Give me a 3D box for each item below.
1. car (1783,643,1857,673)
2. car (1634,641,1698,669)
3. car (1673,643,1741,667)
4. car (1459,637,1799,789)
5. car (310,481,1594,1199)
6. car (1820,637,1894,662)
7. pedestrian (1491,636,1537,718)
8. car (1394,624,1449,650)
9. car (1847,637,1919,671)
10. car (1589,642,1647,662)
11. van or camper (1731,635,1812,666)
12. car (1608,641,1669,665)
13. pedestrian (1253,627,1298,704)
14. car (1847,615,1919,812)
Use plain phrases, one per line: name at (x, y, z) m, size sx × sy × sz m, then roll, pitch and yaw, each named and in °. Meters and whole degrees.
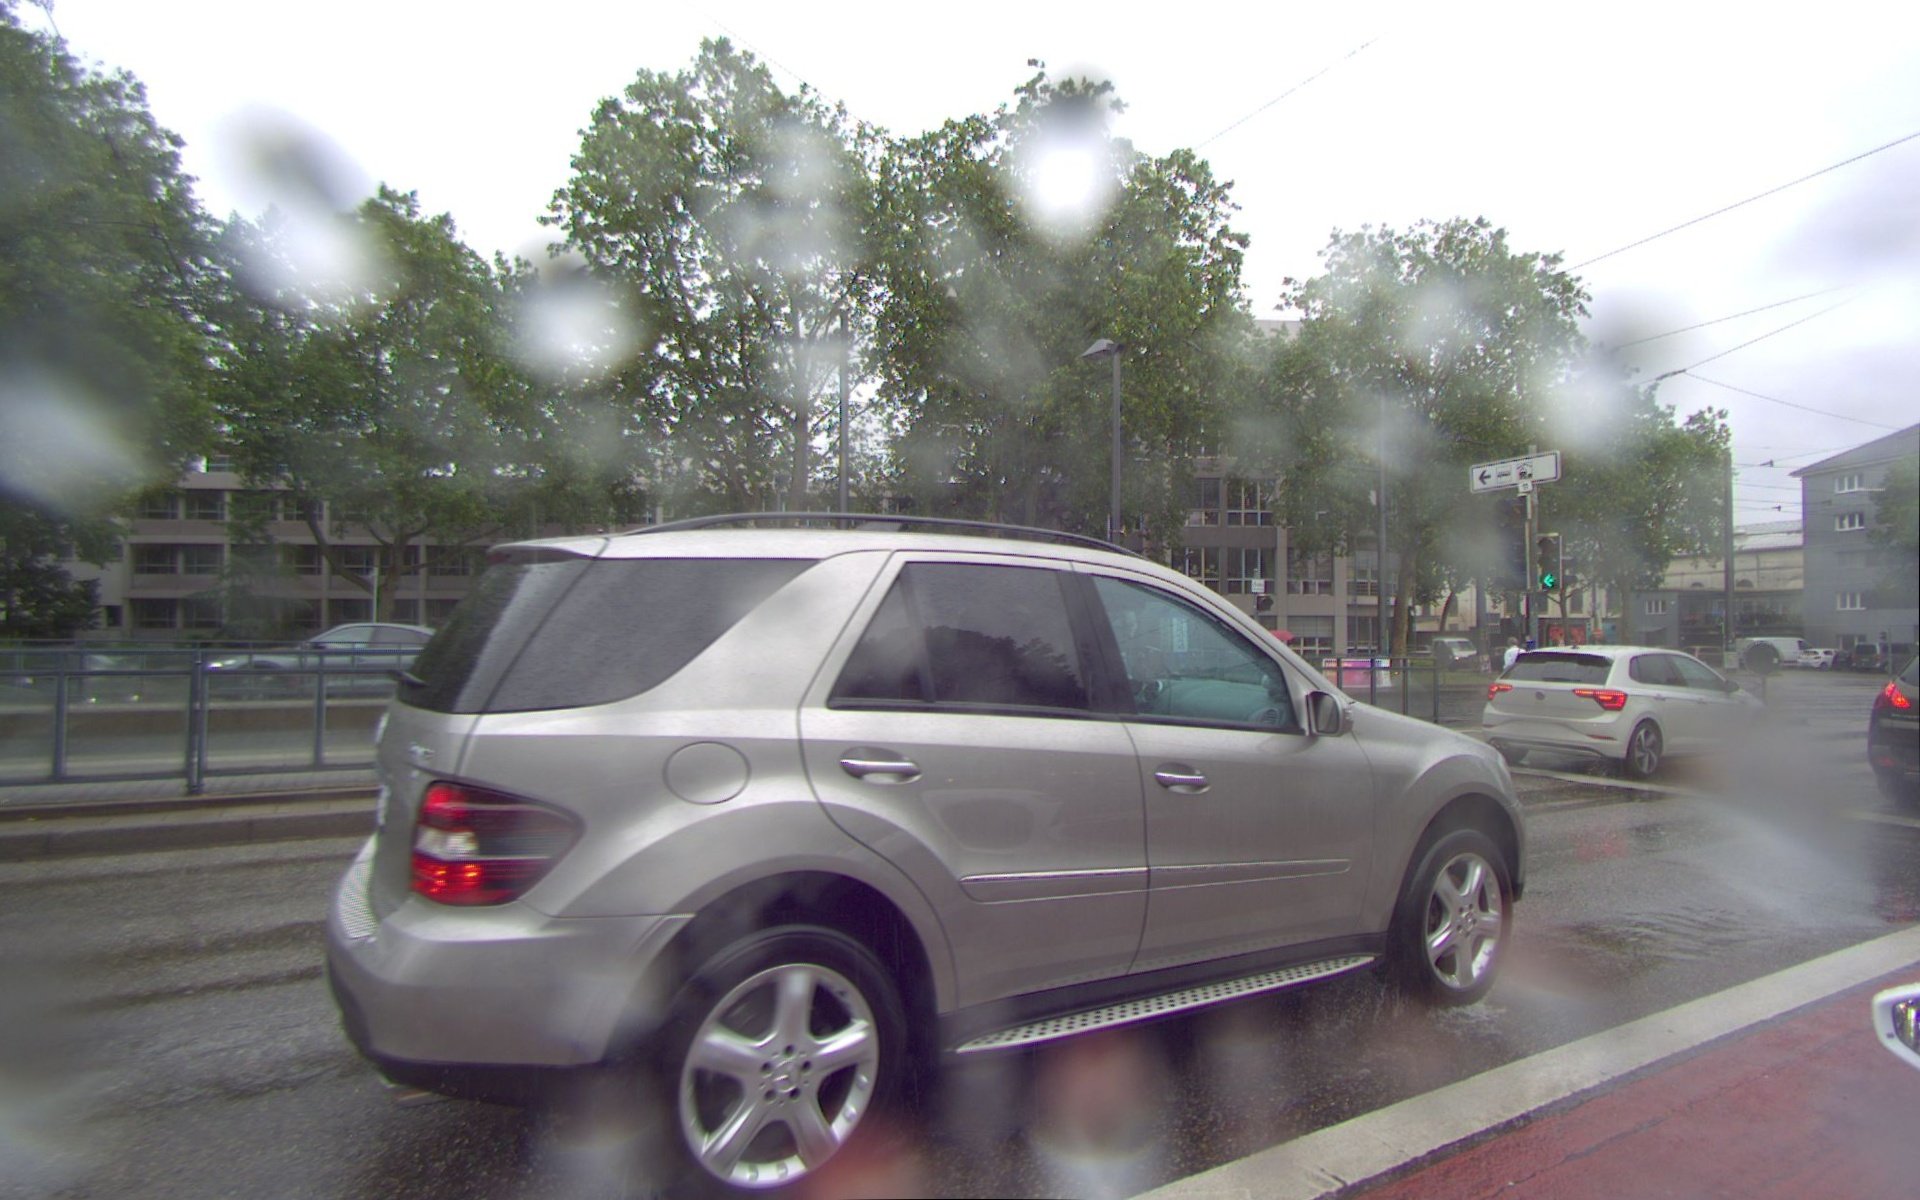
car at (60.606, 4.080, 70.809) m, size 3.931 × 2.040 × 1.995 m, roll 1°, pitch -1°, yaw -13°
car at (58.462, 4.555, 83.220) m, size 3.921 × 2.040 × 2.000 m, roll 2°, pitch -1°, yaw 0°
car at (58.539, 4.295, 78.789) m, size 3.924 × 1.635 × 1.999 m, roll 3°, pitch -2°, yaw -5°
car at (8.218, 1.246, 12.285) m, size 4.140 × 1.557 × 1.799 m, roll 1°, pitch -2°, yaw -29°
car at (0.272, 0.655, 3.919) m, size 4.627 × 1.668 × 1.898 m, roll 1°, pitch -1°, yaw -32°
car at (61.348, 3.382, 68.725) m, size 3.931 × 1.639 × 1.922 m, roll 1°, pitch -1°, yaw -13°
pedestrian at (11.327, 1.551, 20.547) m, size 0.721 × 1.631 × 0.717 m, roll 0°, pitch -1°, yaw 22°
car at (33.074, 2.608, 72.053) m, size 1.966 × 1.795 × 3.998 m, roll 0°, pitch -1°, yaw -3°
car at (60.933, 3.515, 65.544) m, size 4.310 × 2.040 × 2.068 m, roll 1°, pitch 0°, yaw 0°
car at (58.853, 4.625, 89.892) m, size 3.921 × 1.787 × 2.001 m, roll 0°, pitch -2°, yaw 0°
van or camper at (59.254, 3.665, 73.402) m, size 4.568 × 2.102 × 1.998 m, roll 2°, pitch -1°, yaw -7°
car at (58.106, 4.533, 86.069) m, size 3.919 × 1.954 × 2.001 m, roll 1°, pitch 0°, yaw 4°
pedestrian at (7.274, 1.496, 23.177) m, size 0.931 × 1.734 × 0.830 m, roll 0°, pitch -1°, yaw 22°
car at (10.420, 1.028, 9.505) m, size 4.140 × 1.732 × 1.794 m, roll 1°, pitch -1°, yaw -29°
